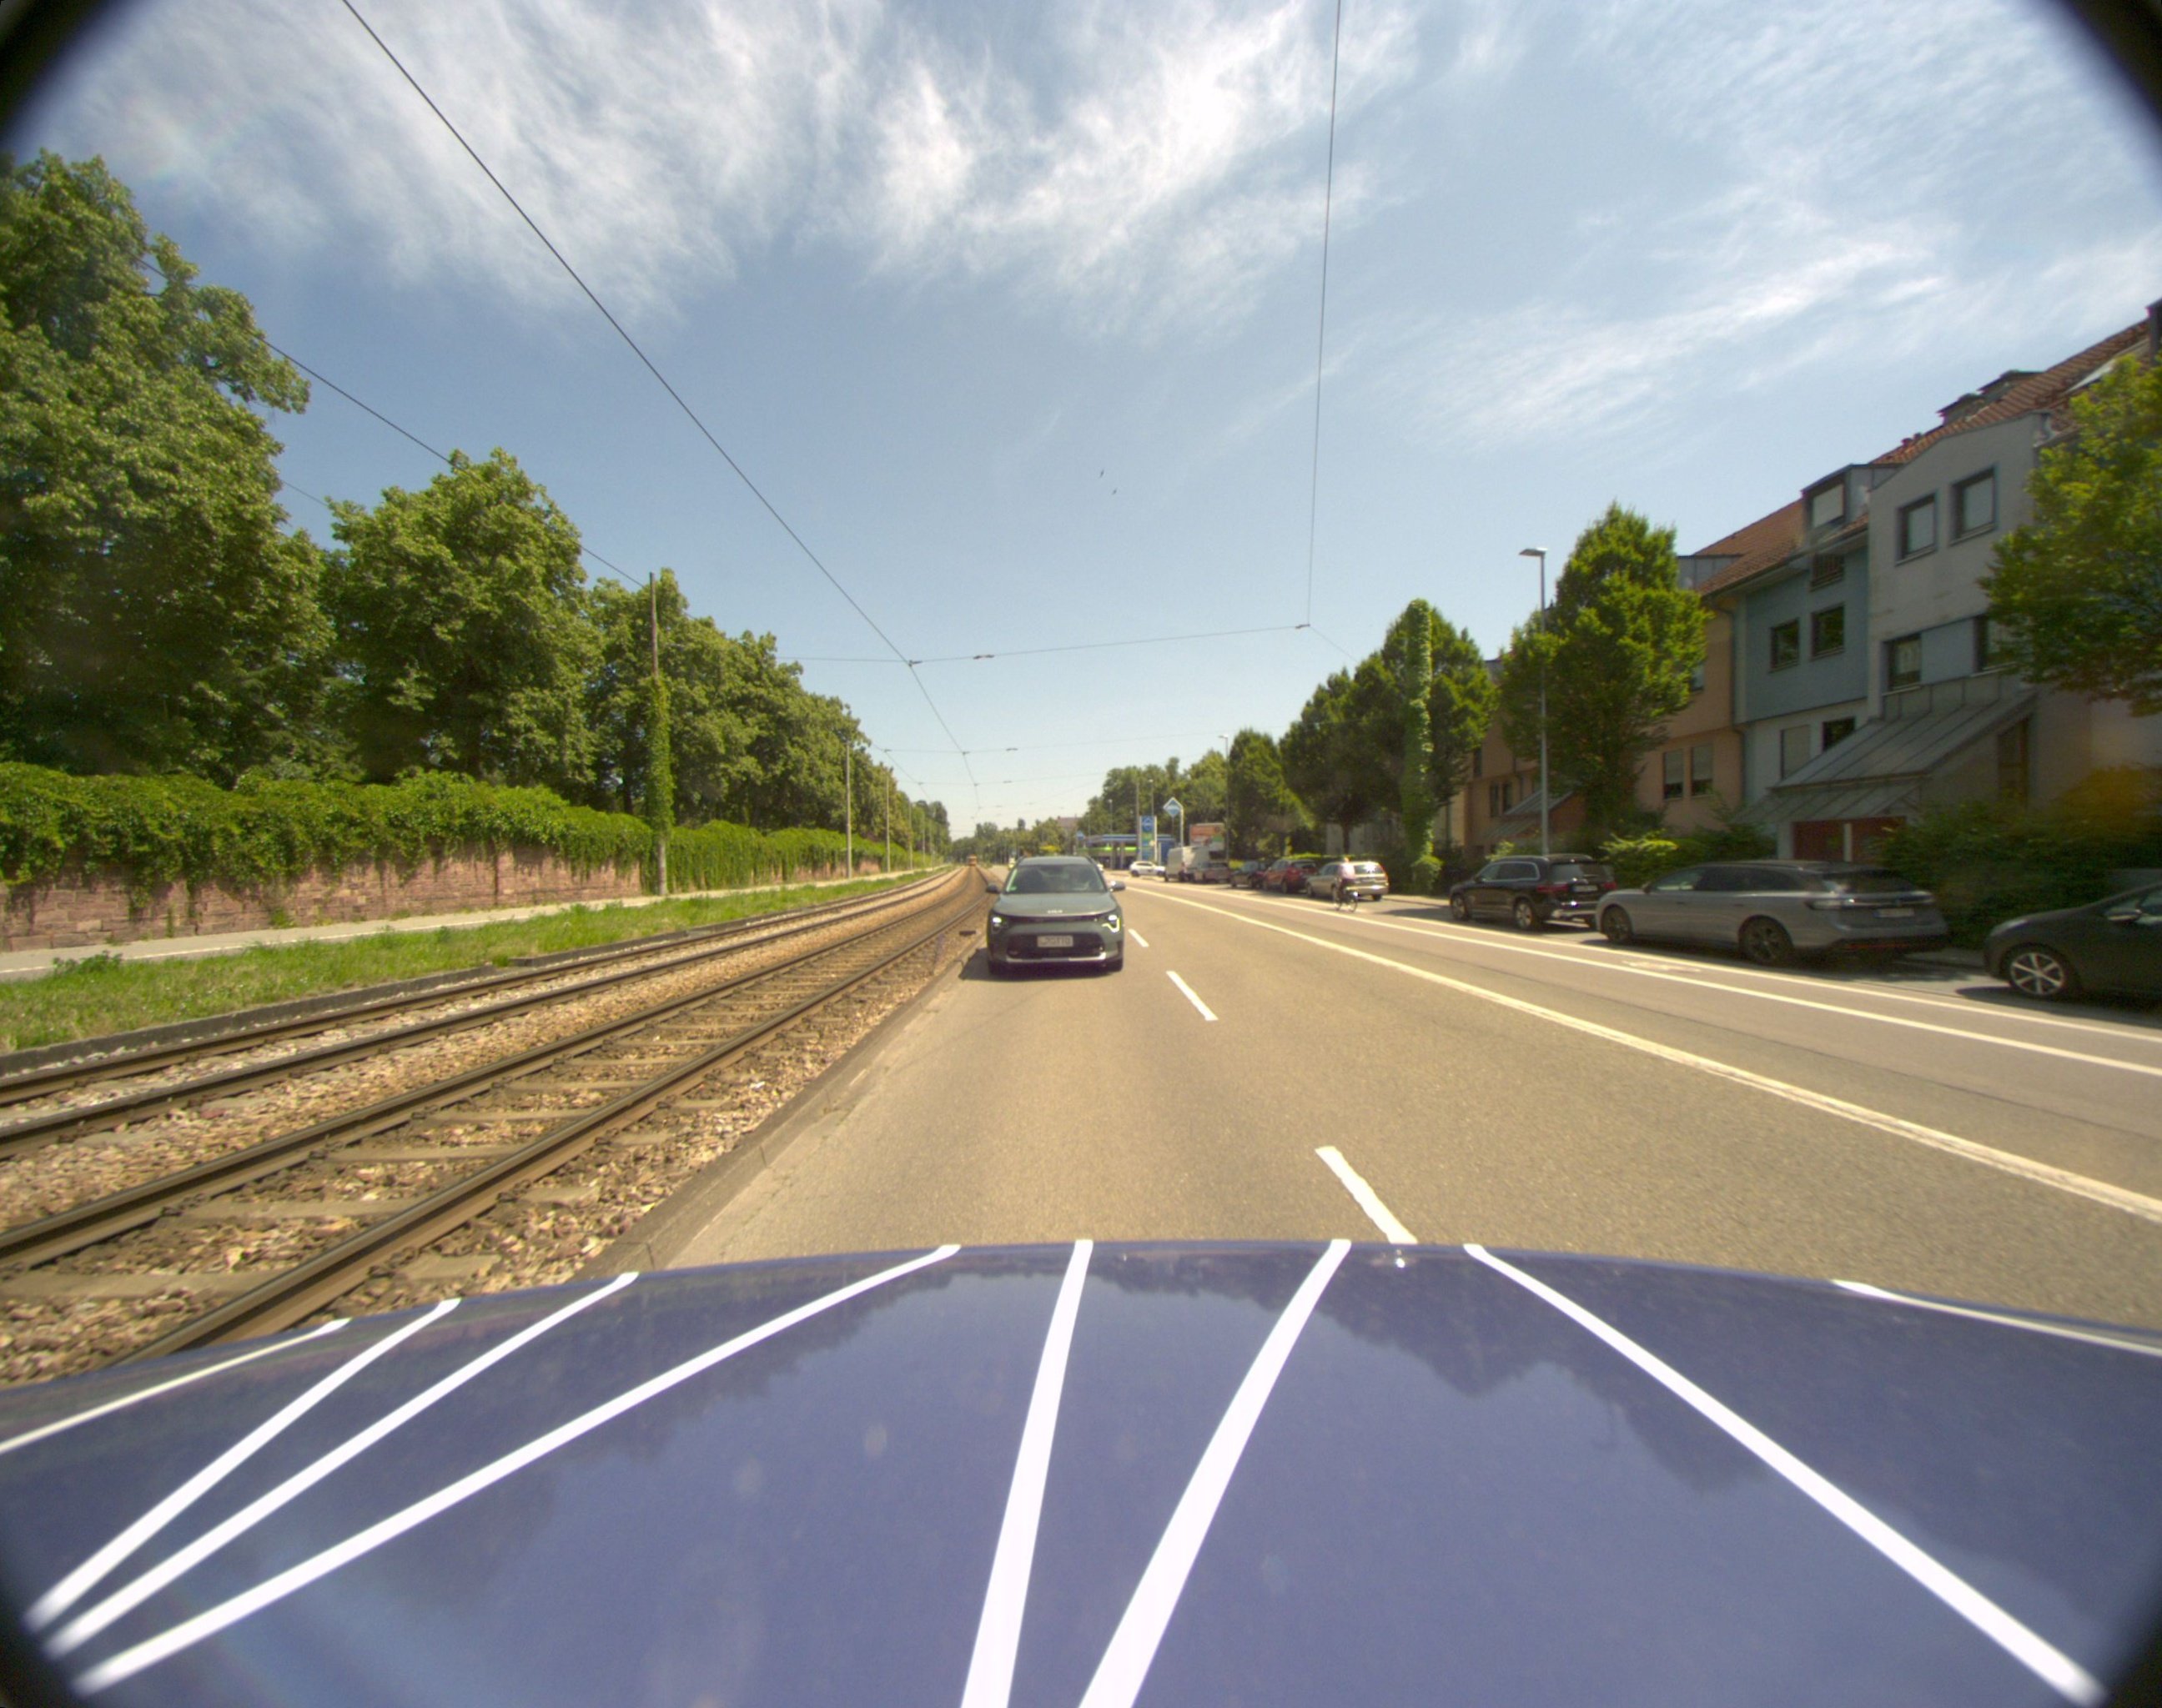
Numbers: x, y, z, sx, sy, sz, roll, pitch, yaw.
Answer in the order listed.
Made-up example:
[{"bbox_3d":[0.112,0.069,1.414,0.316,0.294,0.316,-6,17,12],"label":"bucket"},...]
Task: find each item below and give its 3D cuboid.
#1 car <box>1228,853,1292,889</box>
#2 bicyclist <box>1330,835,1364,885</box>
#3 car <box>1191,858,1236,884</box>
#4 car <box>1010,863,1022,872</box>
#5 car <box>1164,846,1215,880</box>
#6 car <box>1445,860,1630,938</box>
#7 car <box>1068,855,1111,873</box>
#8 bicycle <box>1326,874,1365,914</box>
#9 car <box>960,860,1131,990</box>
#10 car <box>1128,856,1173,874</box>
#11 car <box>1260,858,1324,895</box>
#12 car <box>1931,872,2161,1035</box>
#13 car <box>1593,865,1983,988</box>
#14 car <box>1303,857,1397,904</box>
[{"bbox_3d":[9.474,0.849,40.560,1.999,1.783,4.556,-1,0,-4],"label":"car"},{"bbox_3d":[8.142,0.168,23.301,0.737,1.496,0.737,1,1,2],"label":"bicyclist"},{"bbox_3d":[8.576,1.101,49.519,1.870,1.528,4.142,-2,-1,-4],"label":"car"},{"bbox_3d":[-10.837,2.171,126.814,1.696,1.403,3.513,-2,0,-9],"label":"car"},{"bbox_3d":[7.807,0.645,55.347,2.285,2.294,5.226,-2,0,-7],"label":"car"},{"bbox_3d":[10.642,0.968,18.123,1.771,1.579,4.147,-2,0,-2],"label":"car"},{"bbox_3d":[1.147,1.272,99.894,5.365,2.085,2.002,-2,1,13],"label":"car"},{"bbox_3d":[8.117,1.206,23.387,0.641,1.089,1.639,2,1,1],"label":"bicycle"},{"bbox_3d":[-0.311,0.913,11.304,2.062,1.533,4.002,-2,-1,4],"label":"car"},{"bbox_3d":[7.015,1.092,76.575,4.123,1.766,2.002,0,0,16],"label":"car"},{"bbox_3d":[9.743,1.010,35.348,1.604,1.584,3.680,-2,0,-5],"label":"car"},{"bbox_3d":[11.108,0.968,7.006,1.754,1.424,4.257,-3,0,0],"label":"car"},{"bbox_3d":[10.837,0.984,12.299,1.830,1.487,4.757,-2,0,-1],"label":"car"},{"bbox_3d":[10.287,0.969,29.450,1.845,1.573,4.496,-2,0,-2],"label":"car"}]
